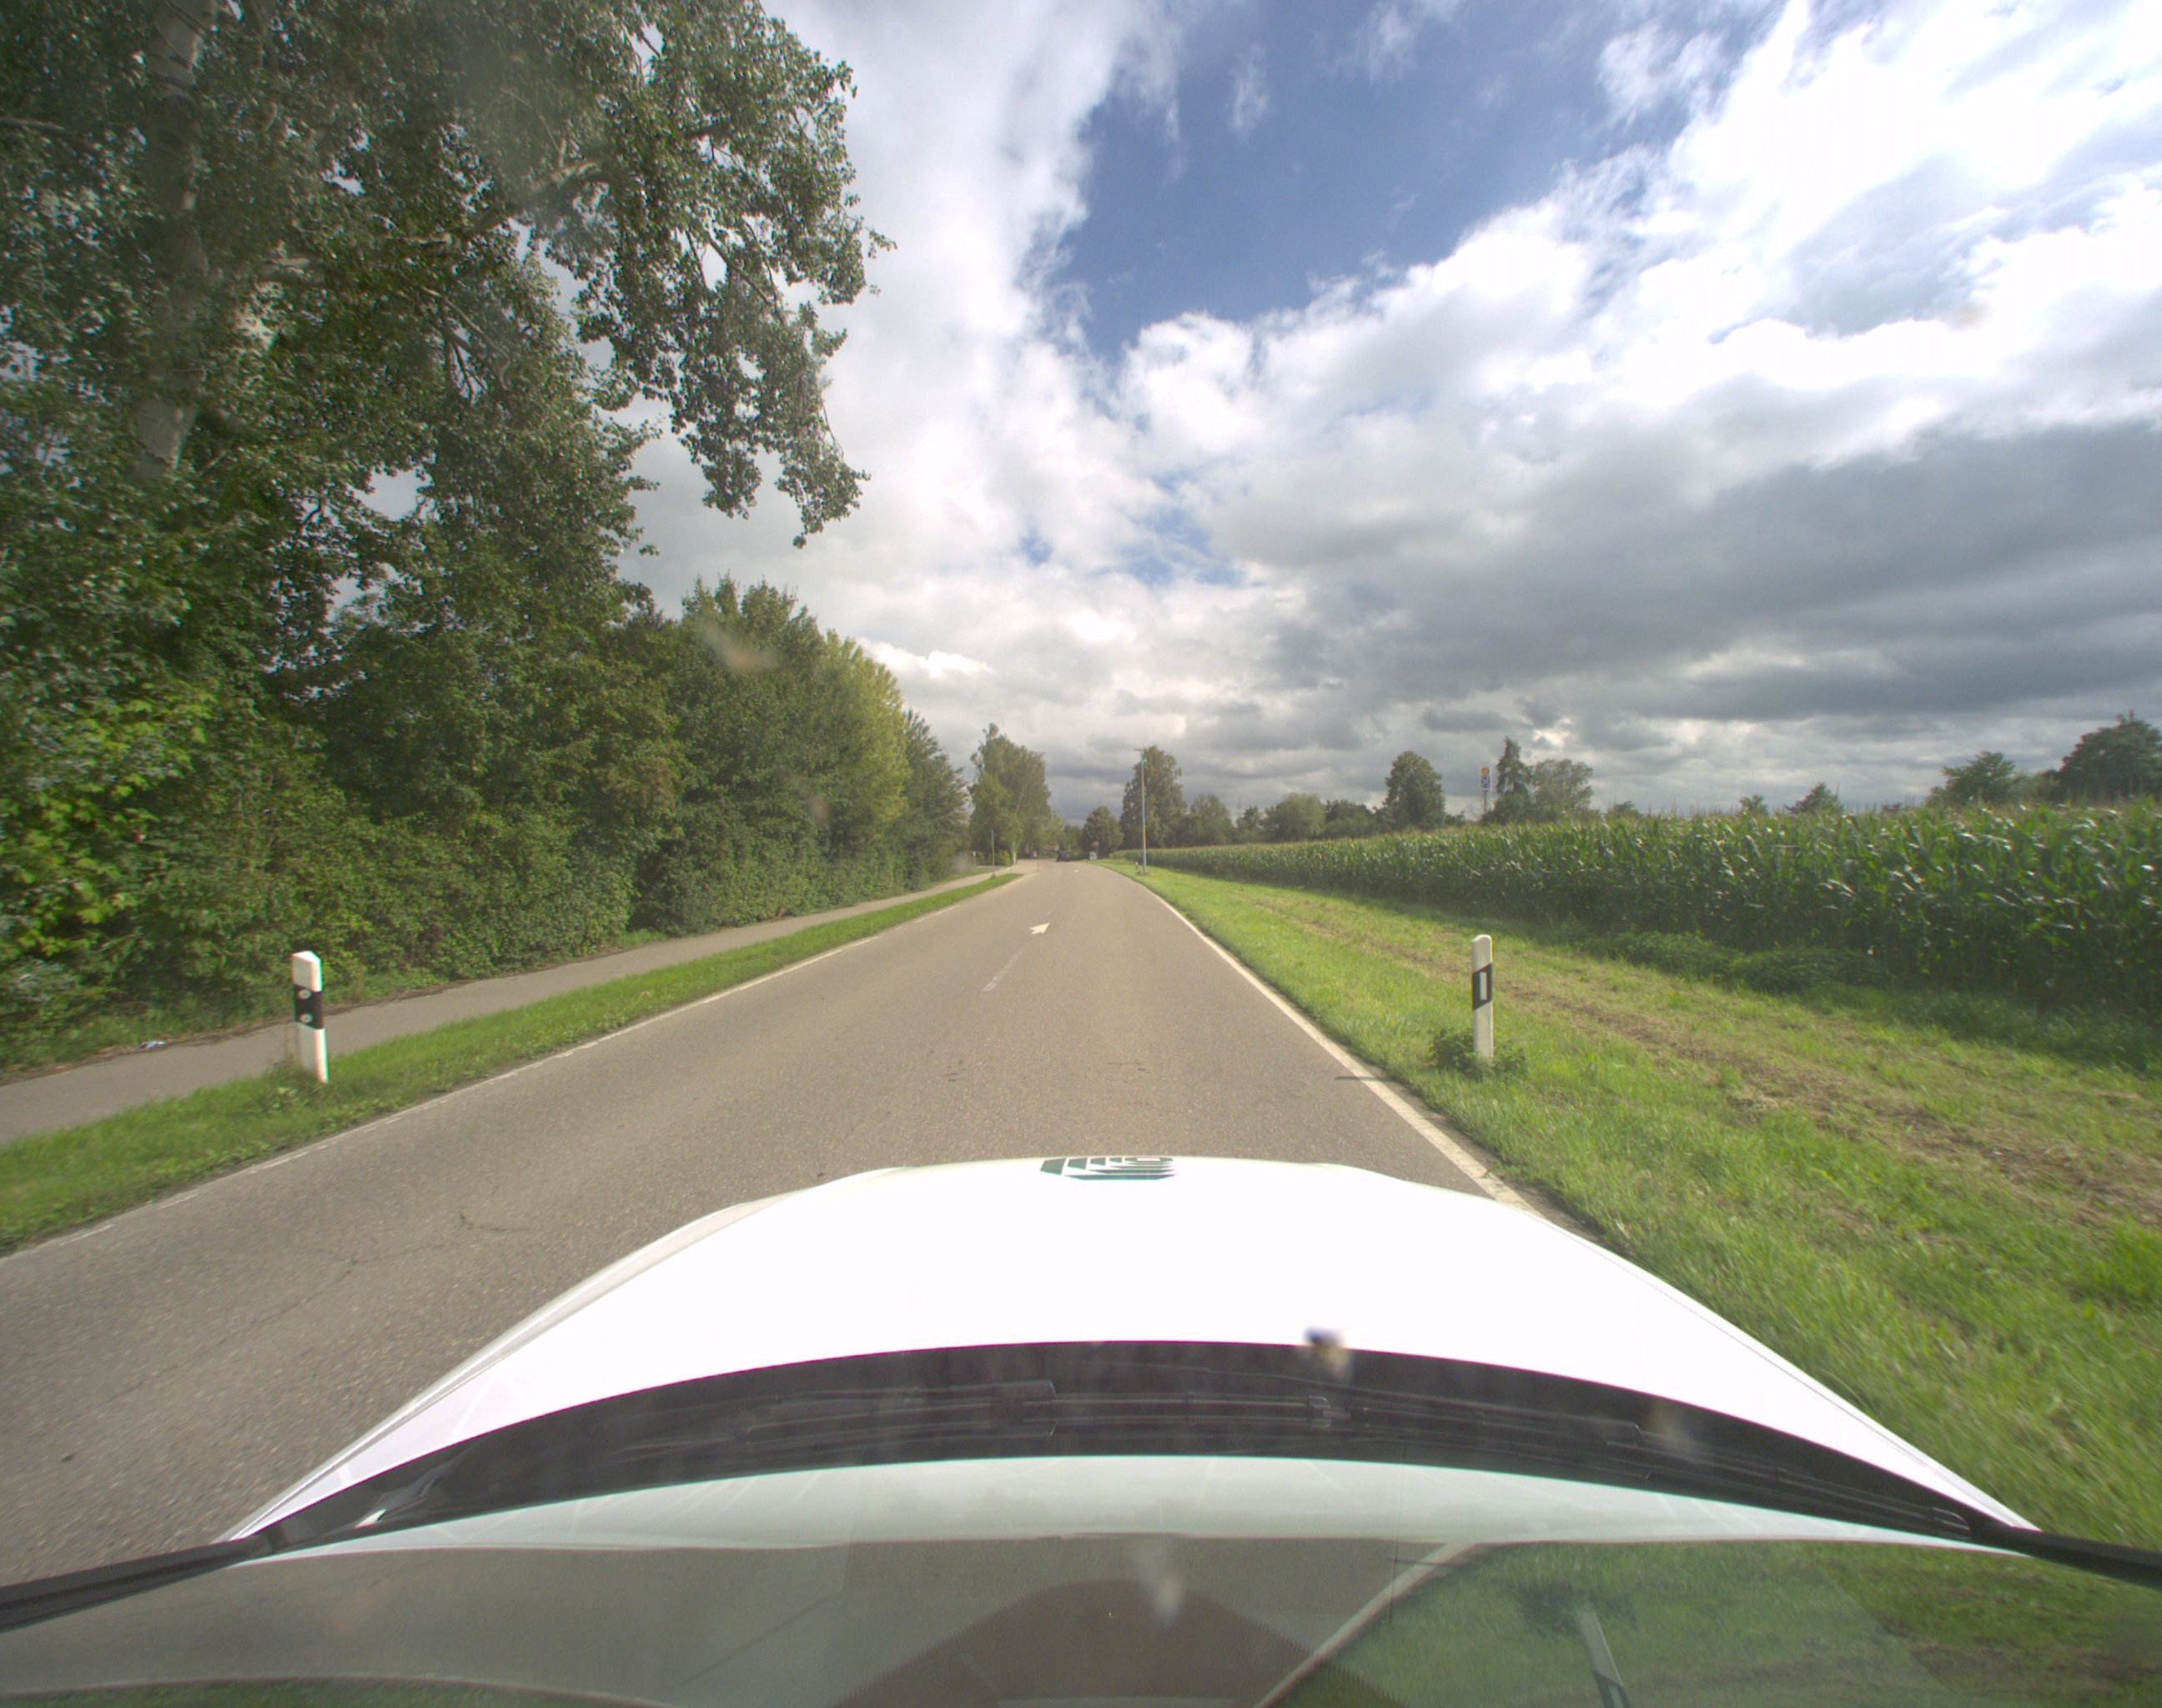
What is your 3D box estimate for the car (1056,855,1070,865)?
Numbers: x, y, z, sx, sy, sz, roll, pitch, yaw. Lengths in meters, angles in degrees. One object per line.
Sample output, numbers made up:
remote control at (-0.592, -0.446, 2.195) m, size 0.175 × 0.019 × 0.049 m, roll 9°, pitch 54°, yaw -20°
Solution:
car at (-2.950, 0.944, 131.380) m, size 1.990 × 1.585 × 3.992 m, roll 1°, pitch -1°, yaw -5°
